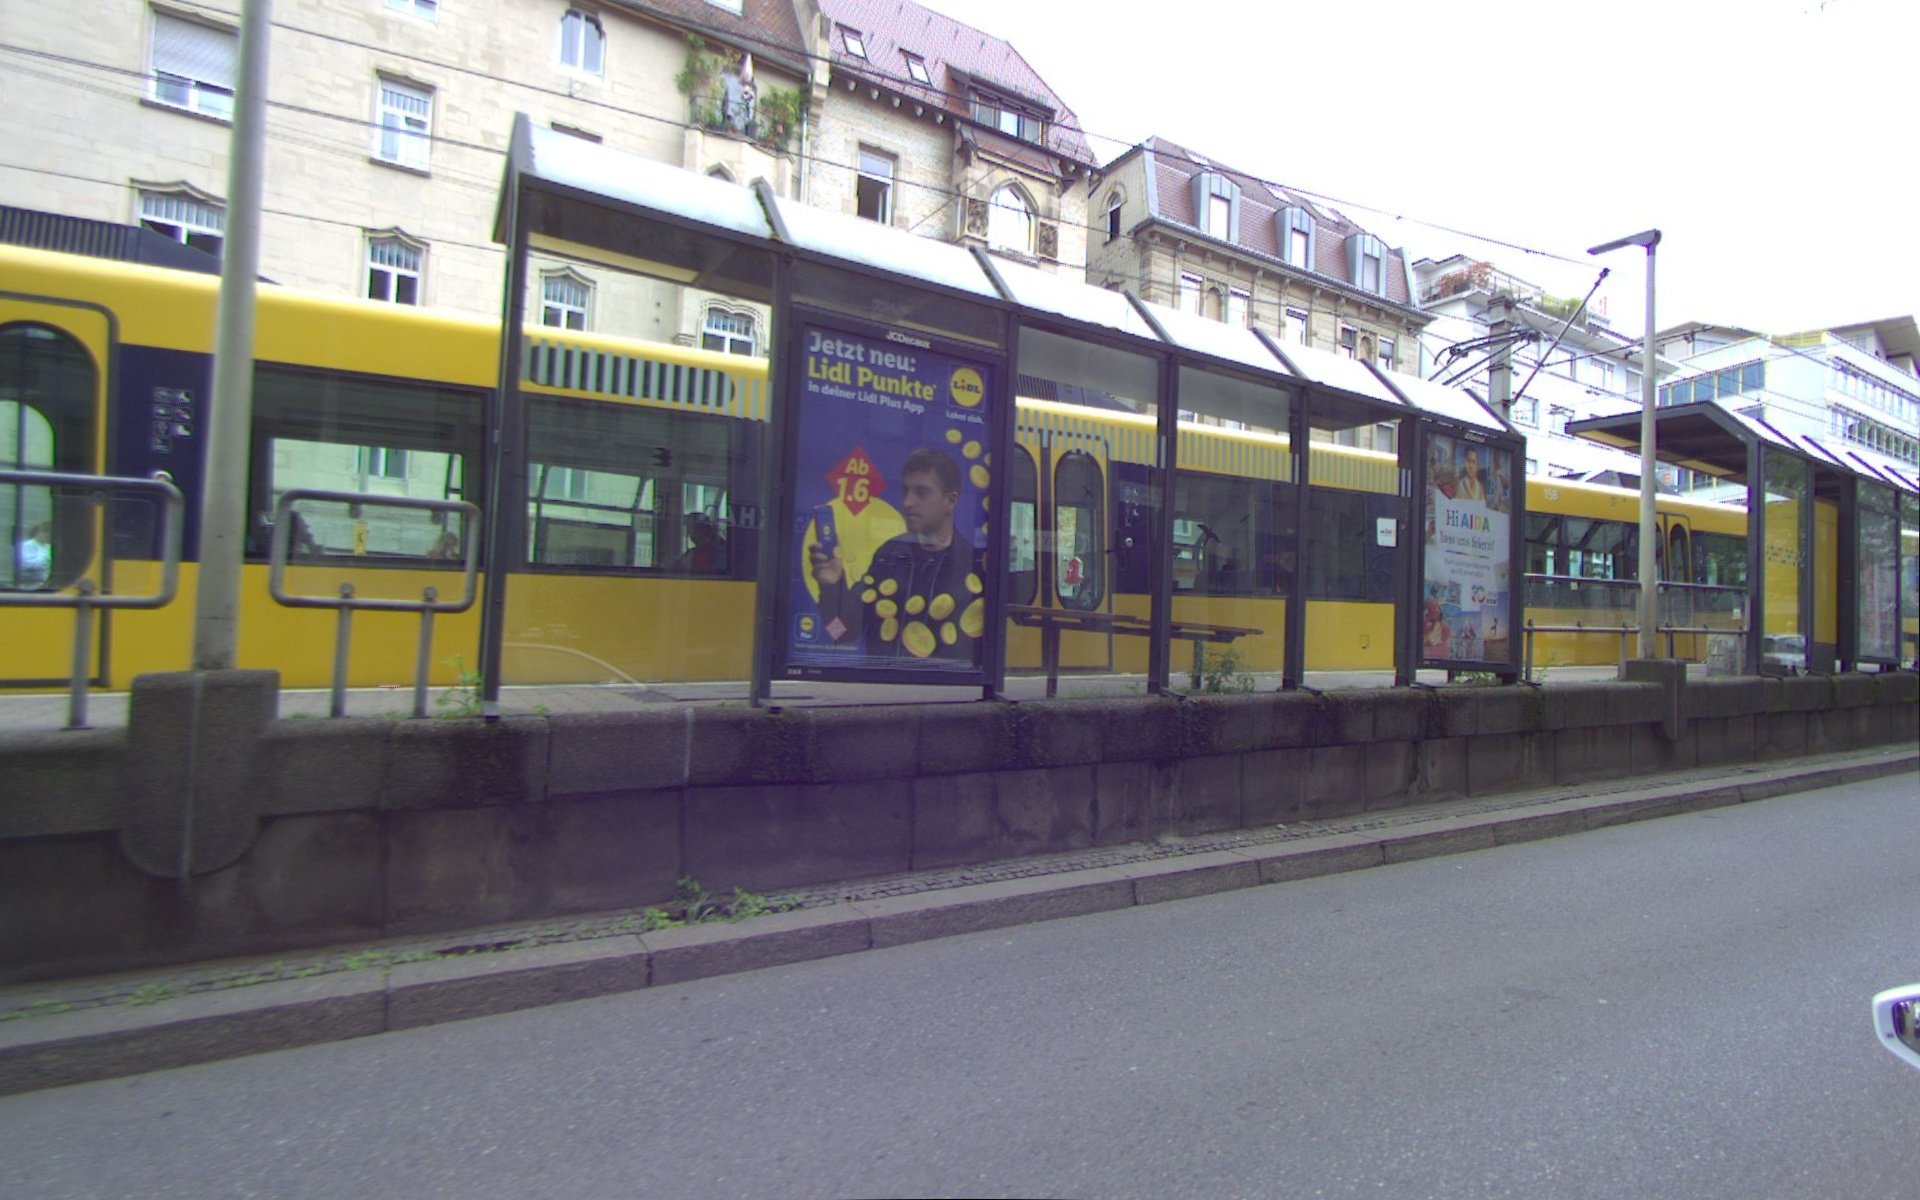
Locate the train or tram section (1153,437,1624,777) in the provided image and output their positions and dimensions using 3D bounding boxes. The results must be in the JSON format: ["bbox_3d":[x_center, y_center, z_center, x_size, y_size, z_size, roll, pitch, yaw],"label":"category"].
[{"bbox_3d":[5.685,0.154,13.215,5.683,3.567,2.822,2,-1,-30],"label":"train or tram section"}]

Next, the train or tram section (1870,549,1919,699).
[{"bbox_3d":[26.859,0.679,26.221,6.675,3.715,2.798,2,-1,-31],"label":"train or tram section"}]

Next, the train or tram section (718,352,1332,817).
[{"bbox_3d":[0.733,-0.040,10.371,5.683,3.567,2.822,2,-1,-30],"label":"train or tram section"}]

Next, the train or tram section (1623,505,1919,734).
[{"bbox_3d":[15.601,0.404,18.961,5.832,3.715,2.800,2,-1,-30],"label":"train or tram section"}]

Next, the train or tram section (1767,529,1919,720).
[{"bbox_3d":[21.006,0.564,22.109,6.671,3.715,2.800,2,-1,-30],"label":"train or tram section"}]

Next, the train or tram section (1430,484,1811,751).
[{"bbox_3d":[10.608,0.317,16.067,5.683,3.567,2.822,2,-1,-30],"label":"train or tram section"}]

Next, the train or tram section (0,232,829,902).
[{"bbox_3d":[-4.187,-0.121,7.518,5.683,3.567,2.822,2,-1,-30],"label":"train or tram section"}]

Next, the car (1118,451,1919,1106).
[{"bbox_3d":[3.627,0.671,5.399,5.085,2.040,2.355,3,-1,-28],"label":"car"}]
